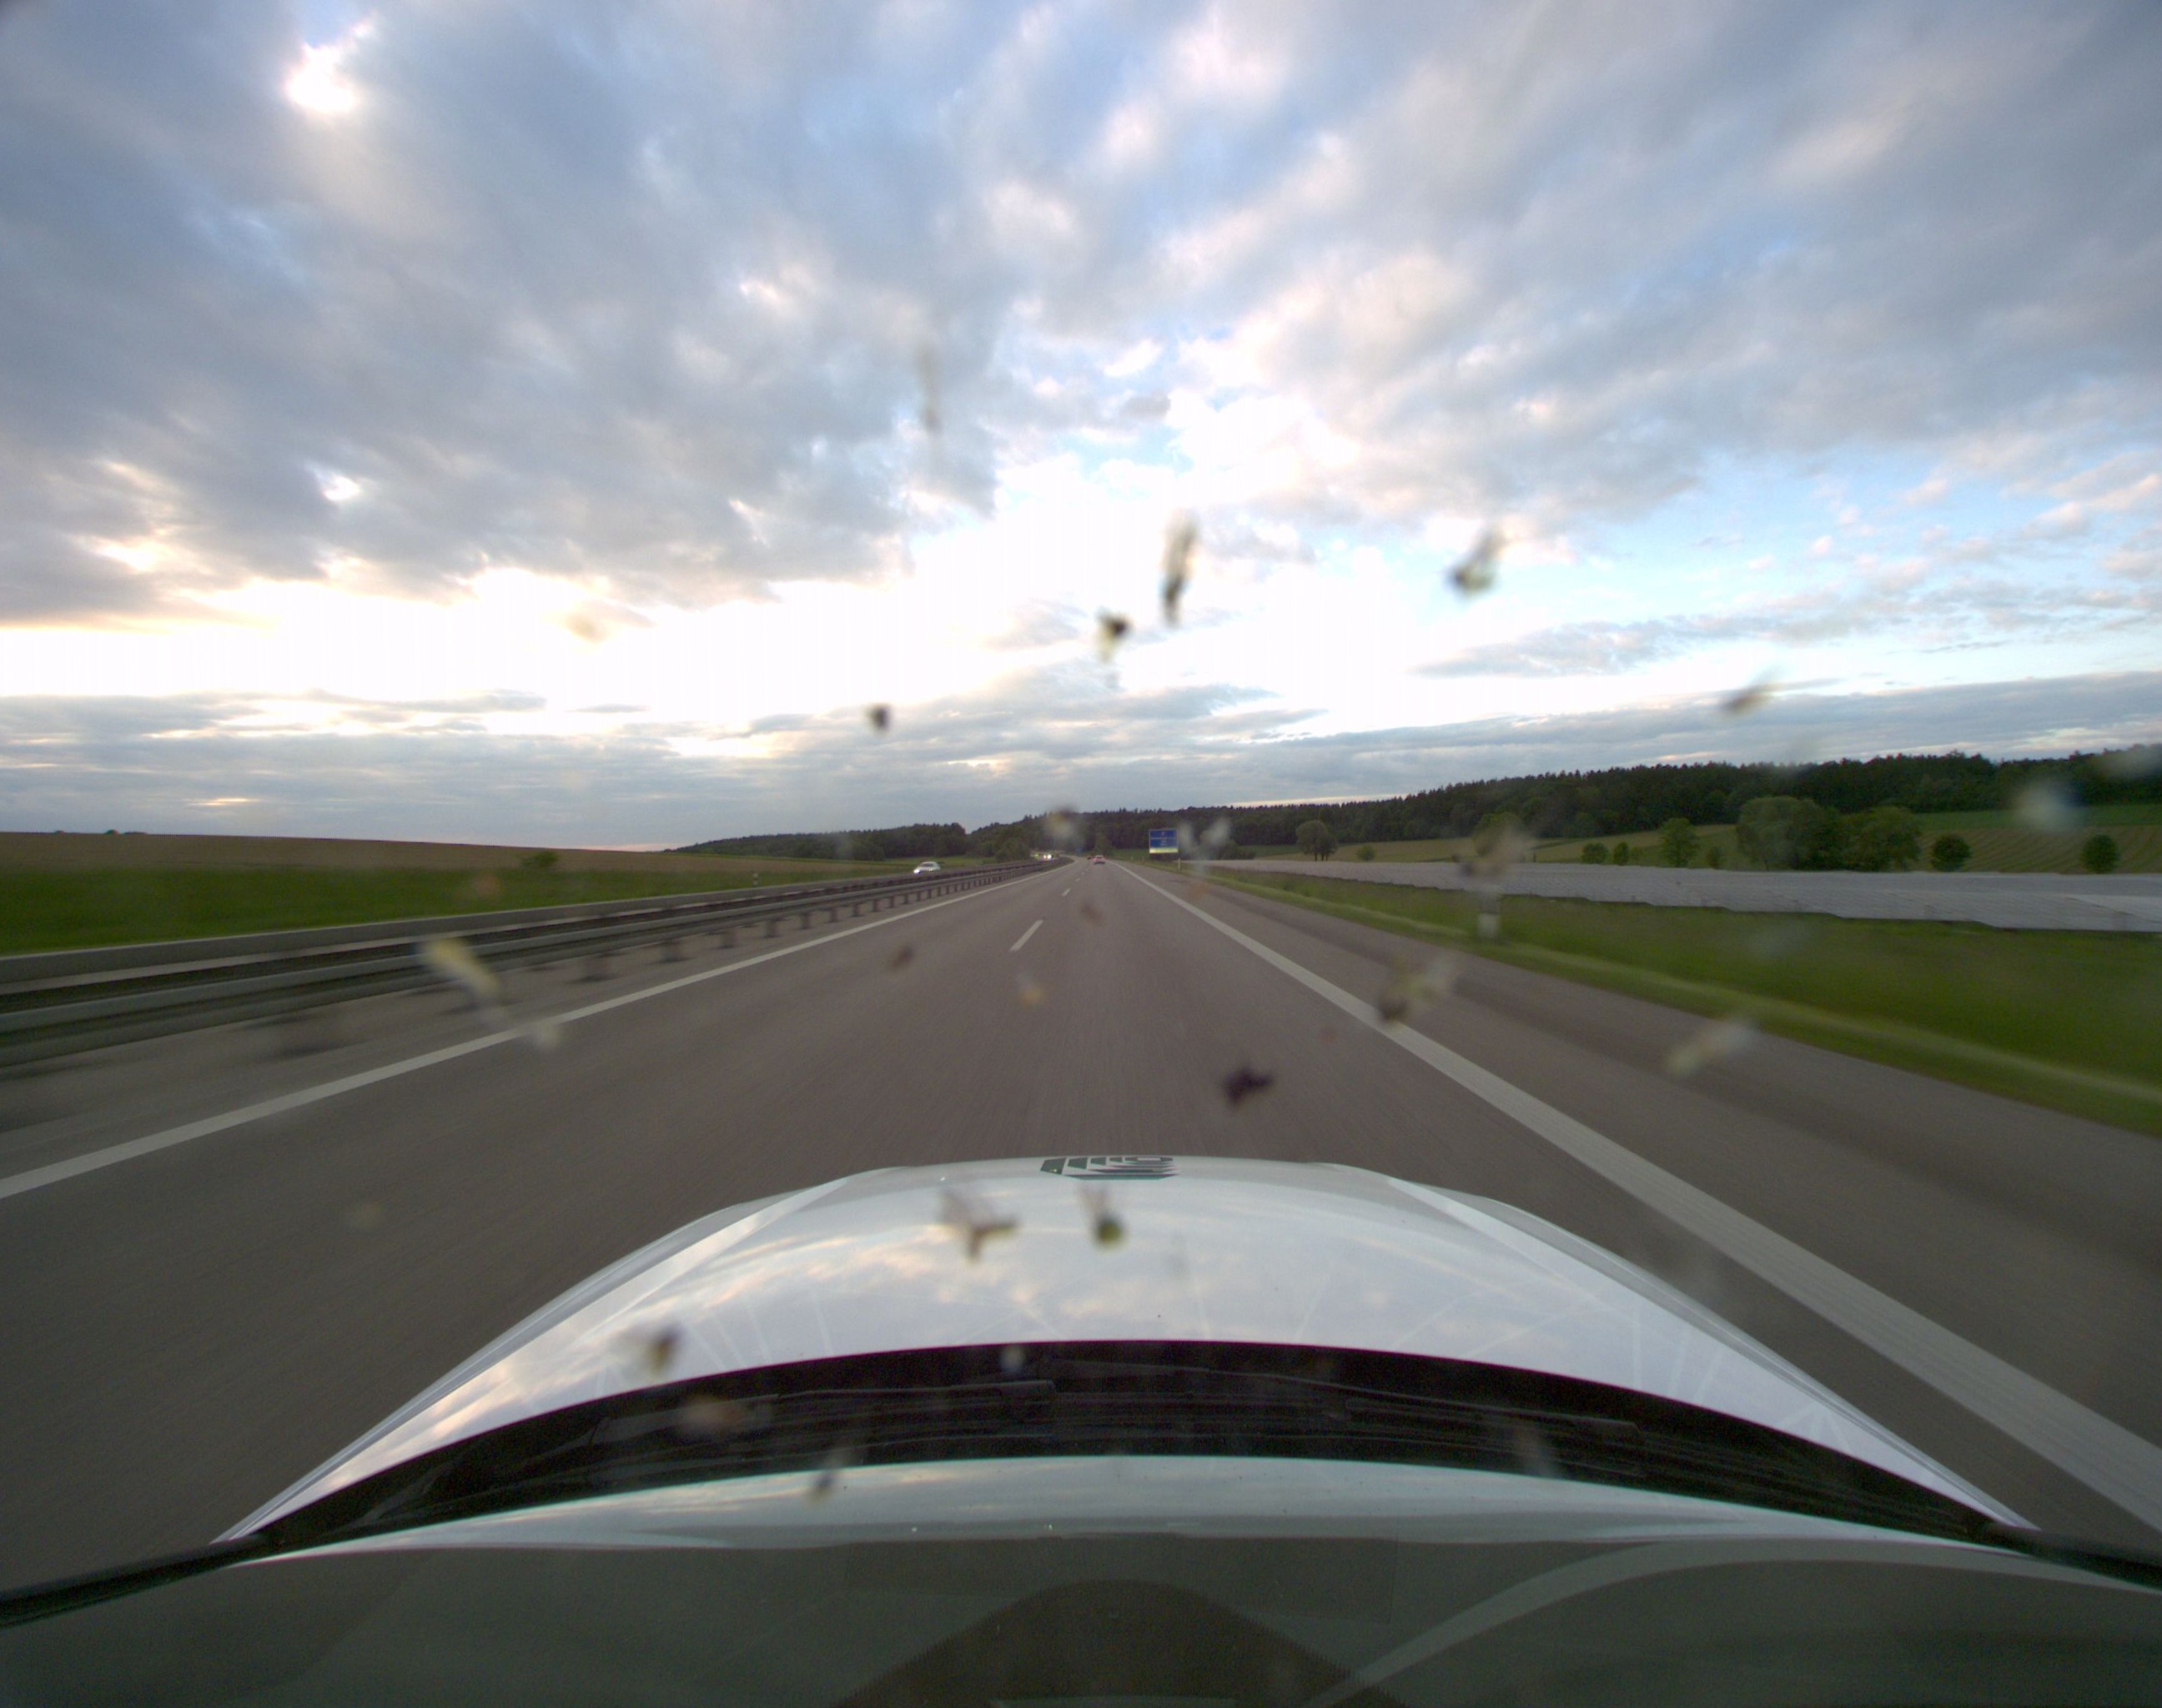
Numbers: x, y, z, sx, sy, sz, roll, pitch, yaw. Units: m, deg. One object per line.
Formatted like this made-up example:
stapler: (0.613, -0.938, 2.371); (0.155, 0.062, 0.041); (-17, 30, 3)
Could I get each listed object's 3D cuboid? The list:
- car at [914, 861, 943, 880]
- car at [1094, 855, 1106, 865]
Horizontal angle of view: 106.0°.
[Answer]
car: (-14.422, 1.527, 77.356); (1.784, 1.699, 4.591); (0, 0, 1)
car: (3.170, 0.985, 138.584); (1.946, 1.531, 4.079); (0, 0, -1)
